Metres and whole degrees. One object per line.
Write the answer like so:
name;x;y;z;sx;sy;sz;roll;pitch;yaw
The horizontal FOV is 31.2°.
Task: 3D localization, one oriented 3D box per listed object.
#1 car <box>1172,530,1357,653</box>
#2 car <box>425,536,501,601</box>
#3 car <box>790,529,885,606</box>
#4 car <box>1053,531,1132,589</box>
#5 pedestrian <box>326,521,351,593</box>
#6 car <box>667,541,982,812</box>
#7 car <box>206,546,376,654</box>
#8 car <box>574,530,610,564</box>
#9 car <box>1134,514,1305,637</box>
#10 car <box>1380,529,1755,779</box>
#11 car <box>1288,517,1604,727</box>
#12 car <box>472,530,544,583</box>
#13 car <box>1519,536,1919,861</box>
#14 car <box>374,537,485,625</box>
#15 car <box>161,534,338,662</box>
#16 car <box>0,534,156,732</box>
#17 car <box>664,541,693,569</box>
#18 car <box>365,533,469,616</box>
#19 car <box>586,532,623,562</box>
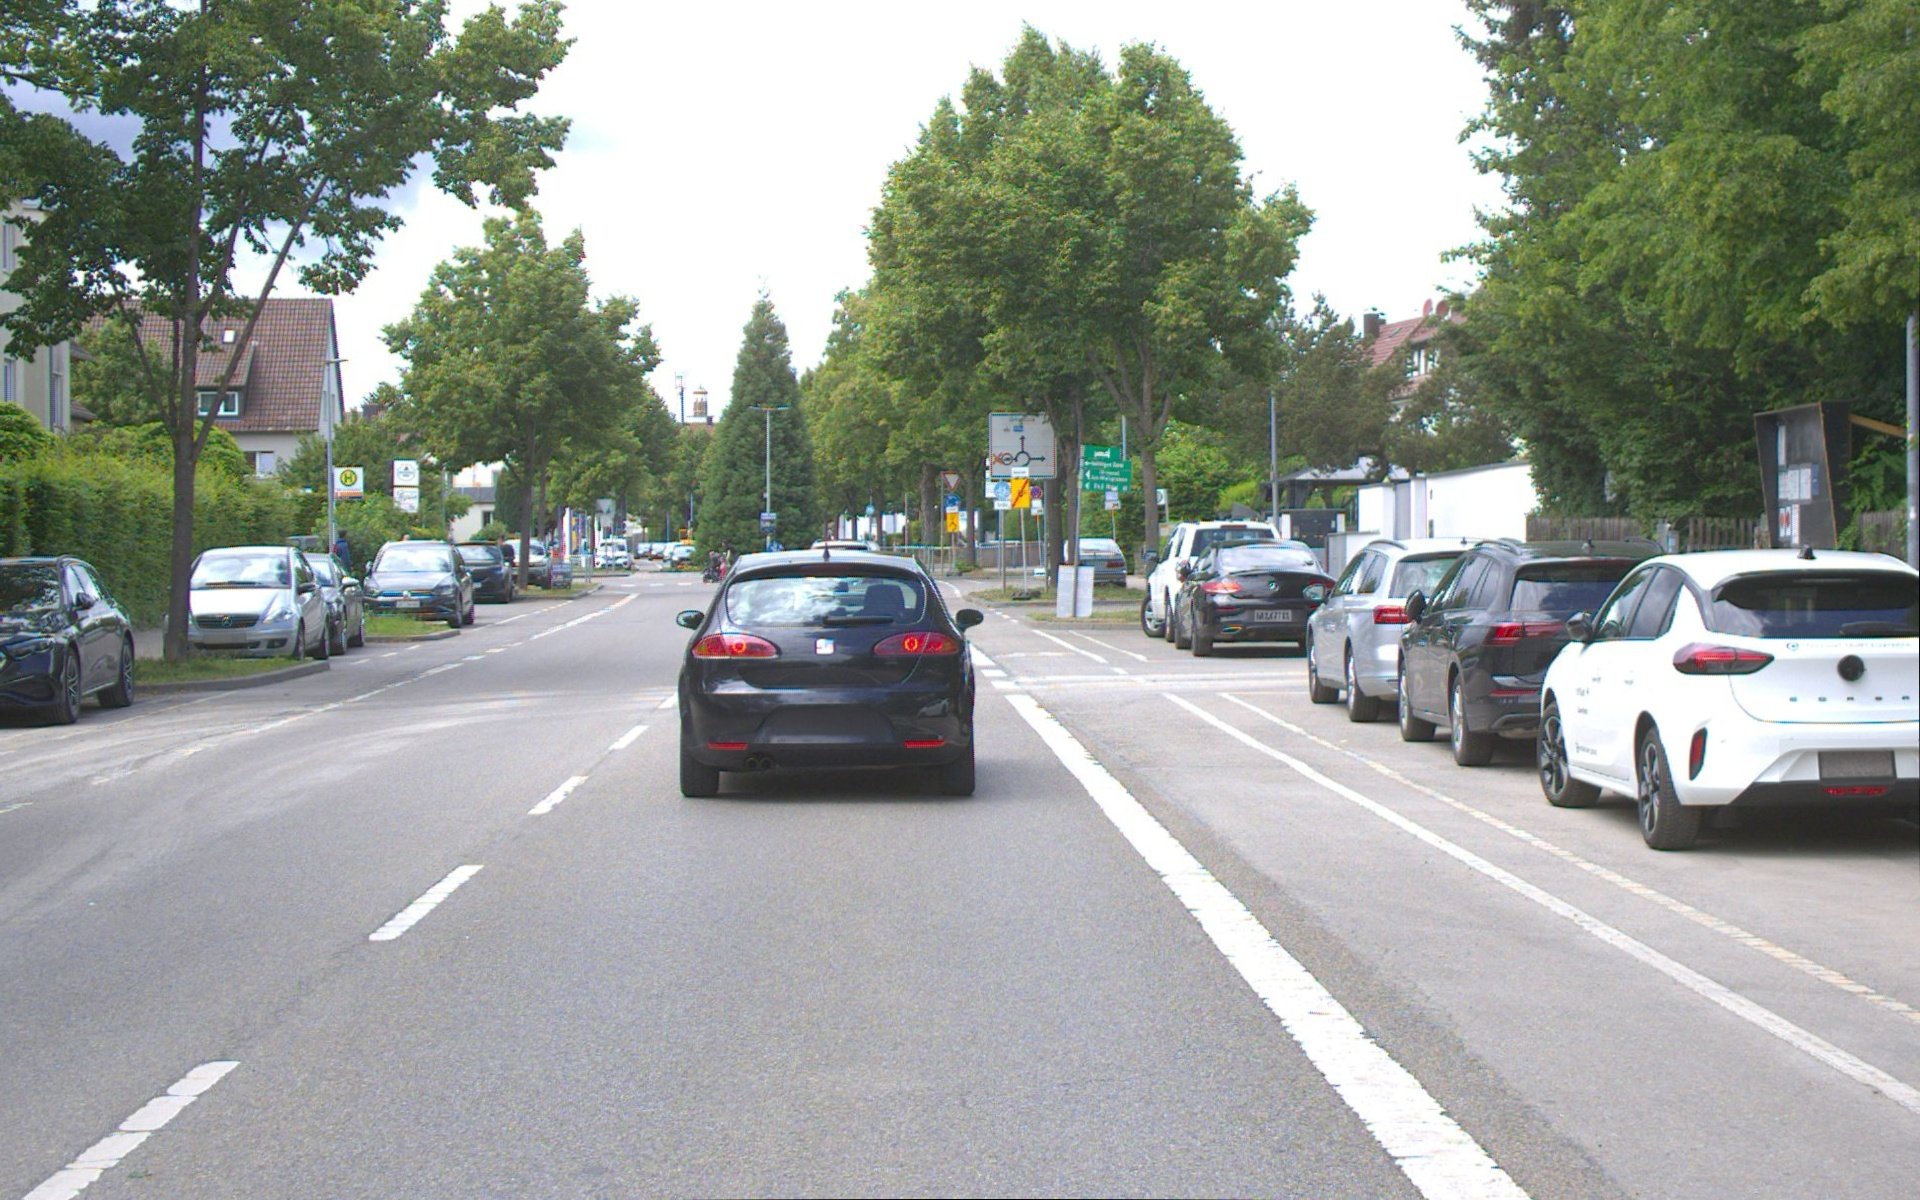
car;3.702;-0.143;42.537;1.863;1.412;4.603;0;1;0
car;-13.398;-0.869;92.806;1.724;1.719;4.566;0;1;-5
car;-2.629;-0.718;74.340;1.993;1.607;4.000;0;1;-2
car;3.277;-0.977;85.513;1.611;1.372;4.387;-1;0;-2
pedestrian;-15.618;-1.080;86.401;0.503;1.800;0.671;-1;1;-3
car;-0.766;0.394;21.305;1.732;1.481;4.000;1;1;0
car;-9.998;-0.043;51.674;1.993;1.480;4.891;-2;1;-5
car;-21.892;-3.179;204.534;2.029;1.964;4.001;-1;1;-5
car;3.613;-0.358;48.612;1.900;1.637;4.117;-1;1;-3
car;4.038;0.289;23.560;1.702;1.505;4.538;1;2;-1
car;3.987;0.145;28.974;1.861;1.605;4.687;1;1;-2
car;-14.282;-1.384;108.834;1.860;1.648;4.295;0;1;-2
car;4.152;0.435;18.041;1.768;1.505;4.031;0;1;0
car;-9.842;-0.385;64.007;1.677;1.546;4.273;-1;1;-4
car;-9.477;-0.063;46.113;1.718;1.607;3.911;-1;1;-3
car;-8.896;0.260;31.671;2.095;1.641;5.039;-2;2;-4
car;-16.656;-2.661;203.528;1.568;1.628;3.622;-1;1;-2
car;-11.227;-0.555;71.327;1.820;1.628;4.587;-1;1;-5
car;-19.313;-2.892;186.731;1.797;1.596;4.001;-1;1;-4
